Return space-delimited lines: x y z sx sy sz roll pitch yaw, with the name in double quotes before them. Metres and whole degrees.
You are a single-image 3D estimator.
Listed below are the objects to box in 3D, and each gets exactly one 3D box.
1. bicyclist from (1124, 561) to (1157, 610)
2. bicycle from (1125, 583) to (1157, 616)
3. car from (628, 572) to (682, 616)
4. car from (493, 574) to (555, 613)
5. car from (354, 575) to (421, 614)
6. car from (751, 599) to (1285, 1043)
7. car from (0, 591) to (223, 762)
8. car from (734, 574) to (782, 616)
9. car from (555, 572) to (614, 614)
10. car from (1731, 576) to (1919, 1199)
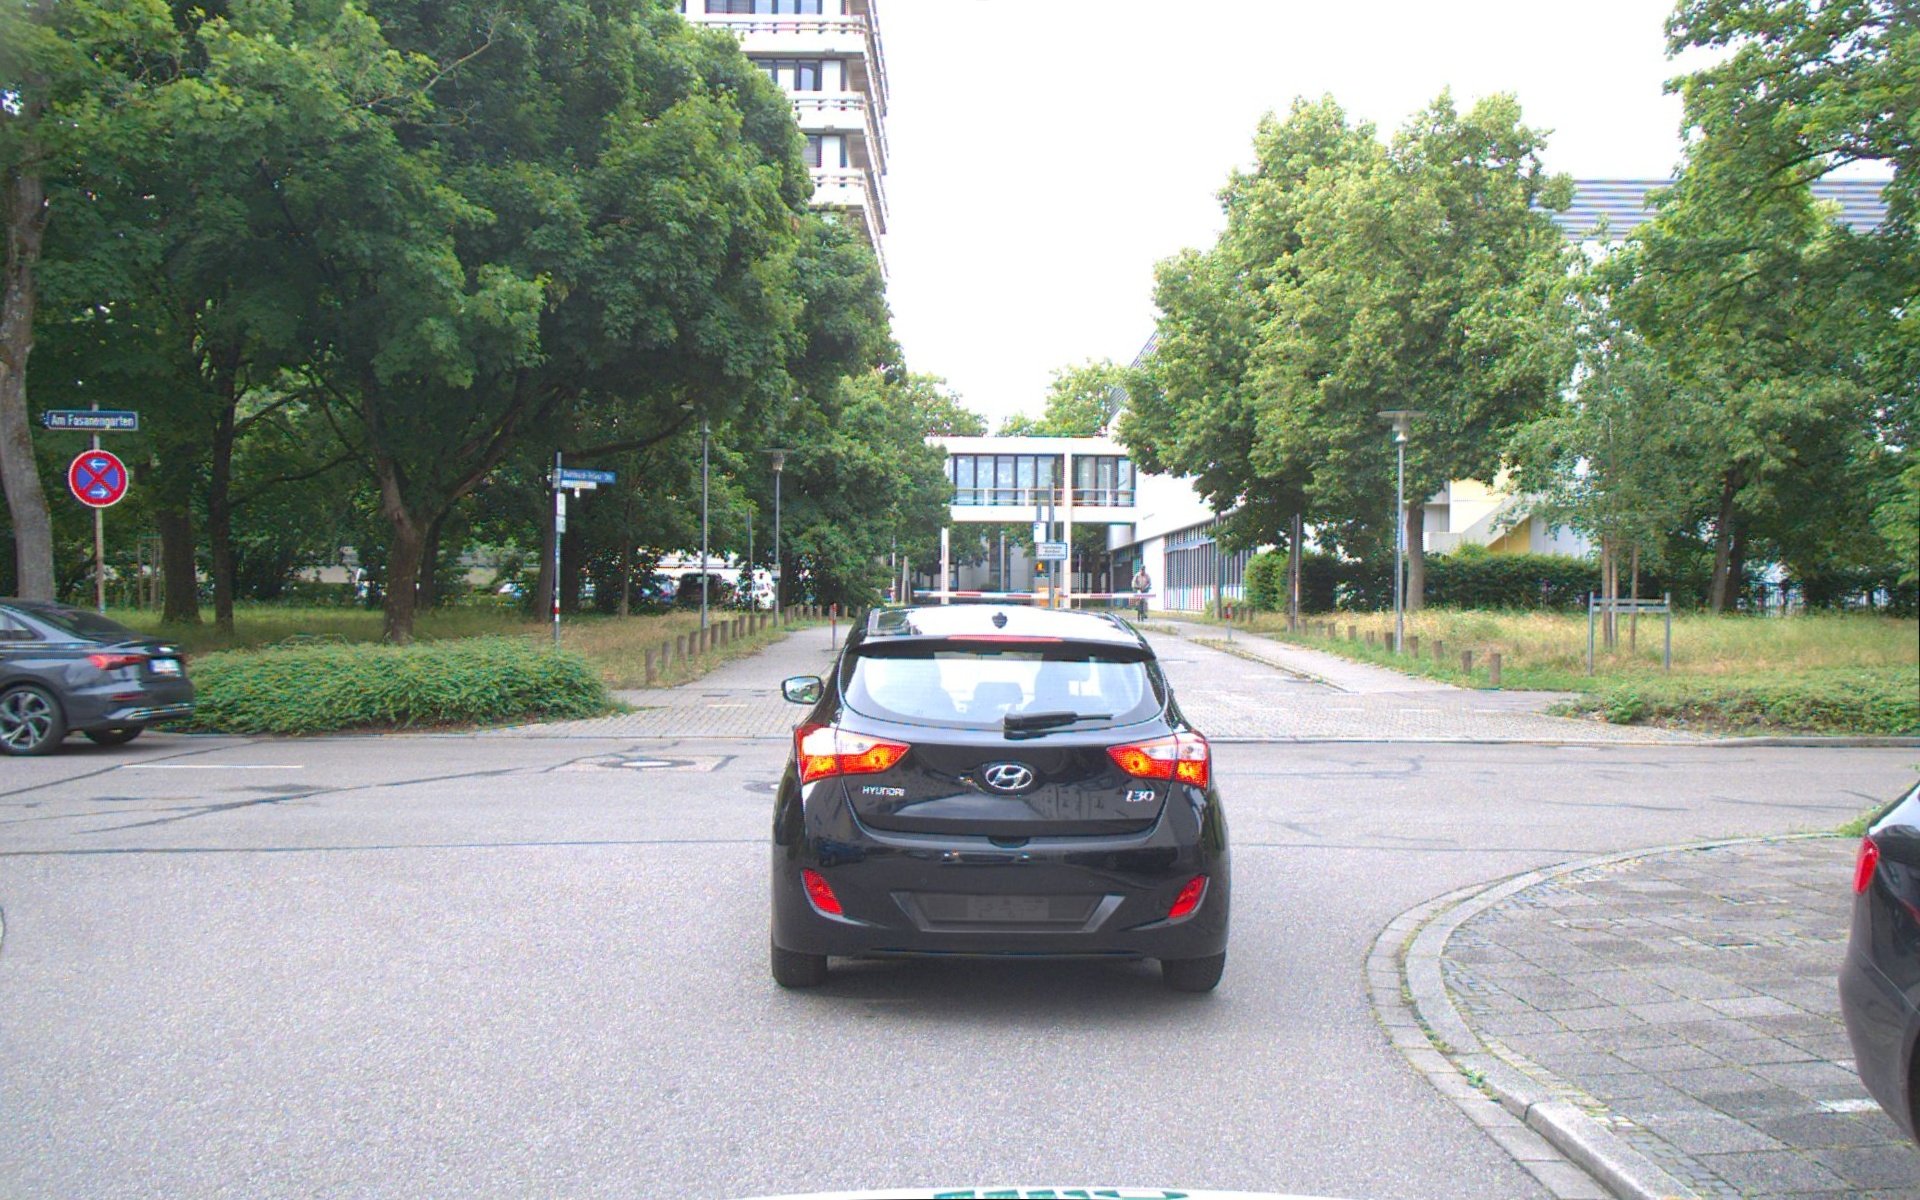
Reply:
"bicyclist" 6.110 -0.495 56.061 0.996 1.673 0.923 0 1 0
"bicycle" 6.127 -0.024 56.151 0.849 1.093 2.142 0 1 0
"car" -13.442 -0.241 73.149 1.955 1.825 3.995 0 -1 -5
"car" -19.147 -0.293 72.770 1.955 1.646 3.996 0 0 -5
"car" -25.221 -0.250 73.008 1.880 1.646 3.996 0 0 -5
"car" 0.099 0.750 7.518 1.809 1.488 3.825 0 0 -3
"car" -9.309 0.664 15.432 4.021 1.488 1.869 0 1 -3
"car" -8.942 -0.198 73.305 1.955 1.792 3.996 0 0 -5
"car" -16.480 -0.271 72.757 1.955 1.758 3.995 0 -1 -5
"car" 2.919 0.698 1.729 1.823 1.488 4.723 -1 0 -3
